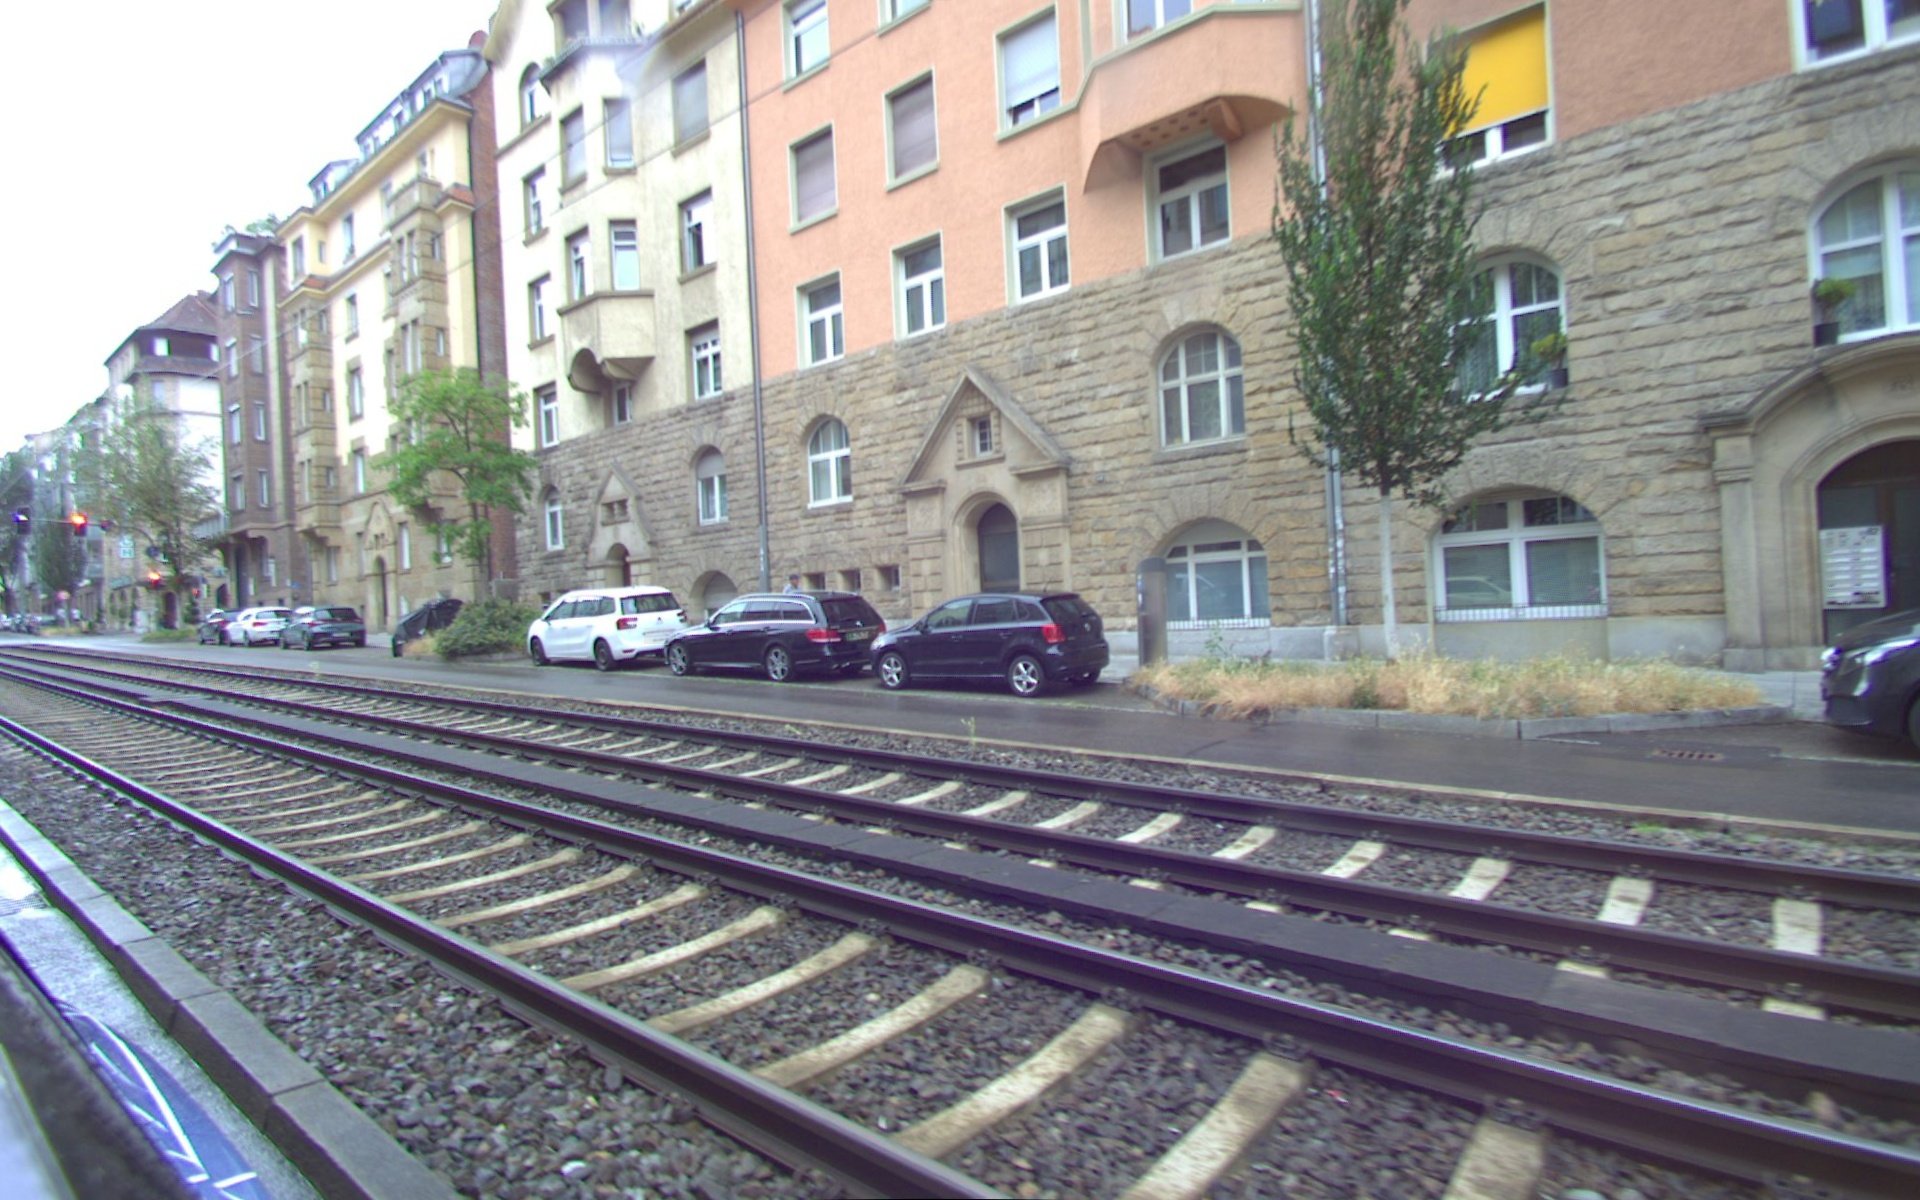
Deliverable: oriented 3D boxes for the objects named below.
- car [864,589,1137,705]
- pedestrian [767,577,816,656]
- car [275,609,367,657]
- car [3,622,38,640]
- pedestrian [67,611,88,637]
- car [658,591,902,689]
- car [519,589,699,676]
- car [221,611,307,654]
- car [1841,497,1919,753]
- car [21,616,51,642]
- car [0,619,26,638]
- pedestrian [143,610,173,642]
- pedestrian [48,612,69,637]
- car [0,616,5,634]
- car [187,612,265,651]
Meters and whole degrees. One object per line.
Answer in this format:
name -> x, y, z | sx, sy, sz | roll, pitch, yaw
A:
car -> 0.557, 0.629, 15.098 | 3.638, 1.508, 1.912 | -1, 0, 38
pedestrian -> -3.613, 0.342, 21.651 | 0.765, 1.654, 0.692 | -1, 0, 41
car -> -21.545, 1.089, 34.071 | 3.845, 1.452, 1.656 | -1, 1, 43
car -> -72.094, 2.351, 77.616 | 3.843, 1.321, 1.563 | -1, 0, 41
pedestrian -> -70.123, 1.923, 80.411 | 1.163, 1.972, 1.042 | -2, 0, 43
car -> -3.320, 0.663, 18.125 | 4.599, 1.506, 1.824 | -1, 0, 41
car -> -7.623, 0.674, 21.804 | 4.144, 1.668, 1.843 | -1, 0, 41
car -> -26.142, 1.212, 37.980 | 4.030, 1.452, 1.748 | -1, 1, 42
car -> 9.449, 0.162, 7.152 | 4.823, 1.956, 1.973 | -1, 0, 41
car -> -66.852, 2.054, 73.244 | 1.561, 1.691, 3.794 | -2, 2, -43
car -> -78.714, 2.369, 83.698 | 3.843, 1.527, 1.748 | -1, 0, 41
pedestrian -> -51.524, 1.670, 65.053 | 1.143, 1.972, 1.059 | -2, 0, -14
pedestrian -> -70.856, 1.930, 79.547 | 1.163, 1.972, 1.042 | -2, 0, 43
car -> -87.427, 2.262, 91.162 | 3.773, 1.611, 1.636 | -1, 0, 41
car -> -29.996, 1.272, 41.308 | 3.843, 1.452, 1.748 | -1, 0, 41
